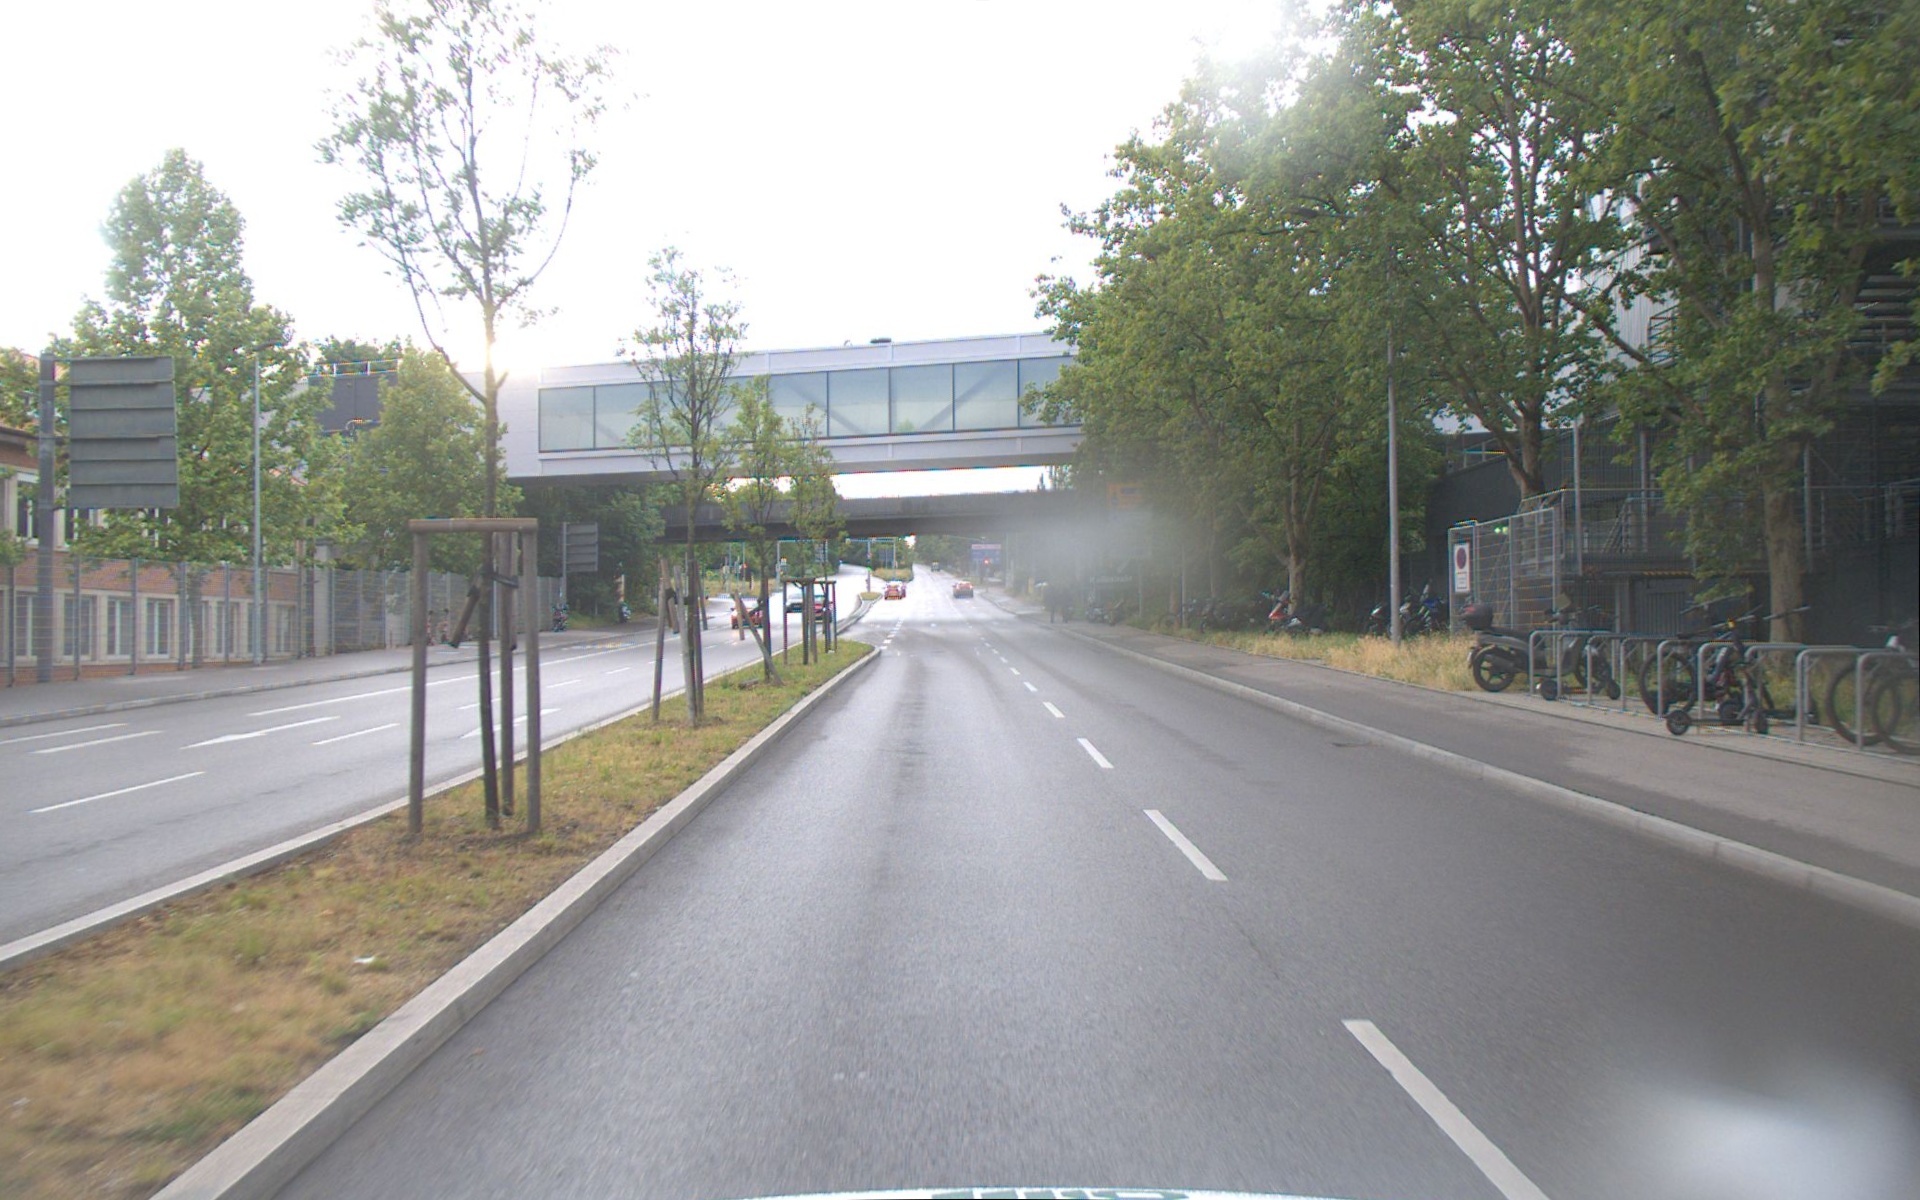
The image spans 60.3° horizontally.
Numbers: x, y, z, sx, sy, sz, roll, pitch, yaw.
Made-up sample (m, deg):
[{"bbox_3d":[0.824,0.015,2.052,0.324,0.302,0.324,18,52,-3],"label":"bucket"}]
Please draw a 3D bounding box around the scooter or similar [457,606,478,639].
[{"bbox_3d":[-18.743,0.858,62.996,0.305,1.239,1.308,-1,0,4],"label":"scooter or similar"}]

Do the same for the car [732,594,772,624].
[{"bbox_3d":[-10.962,0.487,87.288,1.681,1.462,3.770,-3,0,-2],"label":"car"}]

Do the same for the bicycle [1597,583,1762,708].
[{"bbox_3d":[8.335,0.515,19.165,1.826,1.372,0.446,-2,0,-14],"label":"bicycle"}]

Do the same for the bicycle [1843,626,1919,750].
[{"bbox_3d":[8.486,0.737,14.267,1.520,1.022,0.393,-2,0,-2],"label":"bicycle"}]

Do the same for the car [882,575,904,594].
[{"bbox_3d":[-6.403,-1.455,158.529,2.035,1.748,4.195,1,0,-3],"label":"car"}]

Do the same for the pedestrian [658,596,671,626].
[{"bbox_3d":[-18.349,0.709,102.701,0.508,1.847,0.800,0,1,9],"label":"pedestrian"}]

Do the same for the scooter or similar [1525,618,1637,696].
[{"bbox_3d":[8.088,0.731,21.532,1.450,0.953,0.364,-2,0,-19],"label":"scooter or similar"}]

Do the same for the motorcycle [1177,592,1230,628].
[{"bbox_3d":[9.065,0.360,61.568,1.819,1.274,0.627,-1,0,-17],"label":"motorcycle"}]

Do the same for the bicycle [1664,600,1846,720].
[{"bbox_3d":[8.413,0.625,17.509,1.754,1.187,0.447,-2,0,-7],"label":"bicycle"}]

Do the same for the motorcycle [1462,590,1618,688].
[{"bbox_3d":[8.029,0.543,22.939,1.966,1.295,0.442,-2,0,11],"label":"motorcycle"}]

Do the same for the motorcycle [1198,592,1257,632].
[{"bbox_3d":[8.502,0.370,52.581,1.819,1.212,0.519,-1,0,-17],"label":"motorcycle"}]

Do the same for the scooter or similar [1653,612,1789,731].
[{"bbox_3d":[7.438,0.689,16.182,1.189,1.110,0.312,-2,0,-6],"label":"scooter or similar"}]

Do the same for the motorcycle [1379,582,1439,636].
[{"bbox_3d":[11.867,0.234,43.711,1.469,1.389,0.506,1,-1,27],"label":"motorcycle"}]

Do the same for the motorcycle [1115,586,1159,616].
[{"bbox_3d":[8.059,0.053,75.313,1.904,1.320,0.546,-1,0,34],"label":"motorcycle"}]

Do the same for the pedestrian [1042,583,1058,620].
[{"bbox_3d":[4.281,0.064,78.558,0.598,1.751,0.892,-1,0,9],"label":"pedestrian"}]

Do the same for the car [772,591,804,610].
[{"bbox_3d":[-12.843,0.022,123.744,2.022,1.385,4.755,-1,1,-3],"label":"car"}]

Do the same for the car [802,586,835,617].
[{"bbox_3d":[-7.917,0.101,92.715,1.553,1.633,3.854,-3,0,-1],"label":"car"}]

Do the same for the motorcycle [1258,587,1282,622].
[{"bbox_3d":[11.901,0.166,63.421,0.341,1.301,2.069,-1,1,26],"label":"motorcycle"}]

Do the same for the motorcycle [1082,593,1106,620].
[{"bbox_3d":[6.290,0.292,77.593,0.462,1.234,1.937,-1,0,-15],"label":"motorcycle"}]

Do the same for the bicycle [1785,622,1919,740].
[{"bbox_3d":[8.392,0.726,15.085,1.520,1.022,0.393,-2,0,-2],"label":"bicycle"}]

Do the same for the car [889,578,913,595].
[{"bbox_3d":[-6.088,-1.362,170.610,2.121,1.610,4.664,1,0,1],"label":"car"}]

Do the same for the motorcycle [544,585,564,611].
[{"bbox_3d":[-19.612,-0.102,79.896,0.459,1.226,1.996,-1,1,-1],"label":"motorcycle"}]

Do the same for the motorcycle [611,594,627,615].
[{"bbox_3d":[-19.652,0.267,95.293,0.459,1.179,1.933,-1,1,2],"label":"motorcycle"}]

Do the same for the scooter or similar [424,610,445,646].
[{"bbox_3d":[-18.635,0.972,58.638,0.305,1.239,1.307,-1,0,-1],"label":"scooter or similar"}]

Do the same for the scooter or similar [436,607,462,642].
[{"bbox_3d":[-18.750,0.889,60.737,0.305,1.239,1.309,-1,0,11],"label":"scooter or similar"}]

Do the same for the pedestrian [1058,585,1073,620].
[{"bbox_3d":[4.996,0.133,78.279,0.636,1.624,0.579,-1,0,10],"label":"pedestrian"}]

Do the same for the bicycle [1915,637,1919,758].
[{"bbox_3d":[8.506,0.766,13.206,1.520,0.975,0.393,-2,0,-2],"label":"bicycle"}]

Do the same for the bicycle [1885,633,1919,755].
[{"bbox_3d":[8.494,0.749,13.622,1.520,0.975,0.393,-2,0,-2],"label":"bicycle"}]

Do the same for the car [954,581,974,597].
[{"bbox_3d":[0.378,-1.071,158.325,1.709,1.495,4.165,0,1,-2],"label":"car"}]

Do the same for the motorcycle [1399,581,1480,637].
[{"bbox_3d":[12.101,0.224,41.750,1.891,1.389,0.505,1,-1,-6],"label":"motorcycle"}]

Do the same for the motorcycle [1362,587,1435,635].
[{"bbox_3d":[12.116,0.306,45.744,1.874,1.279,0.491,1,-1,5],"label":"motorcycle"}]

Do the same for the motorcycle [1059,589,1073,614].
[{"bbox_3d":[5.017,0.081,78.562,0.460,1.156,1.818,-1,0,-2],"label":"motorcycle"}]

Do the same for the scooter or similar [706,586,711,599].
[{"bbox_3d":[-25.366,-0.730,166.800,0.306,1.239,1.303,-1,1,-15],"label":"scooter or similar"}]

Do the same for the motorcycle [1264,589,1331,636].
[{"bbox_3d":[8.664,0.321,42.493,1.618,1.170,0.493,1,-1,7],"label":"motorcycle"}]
